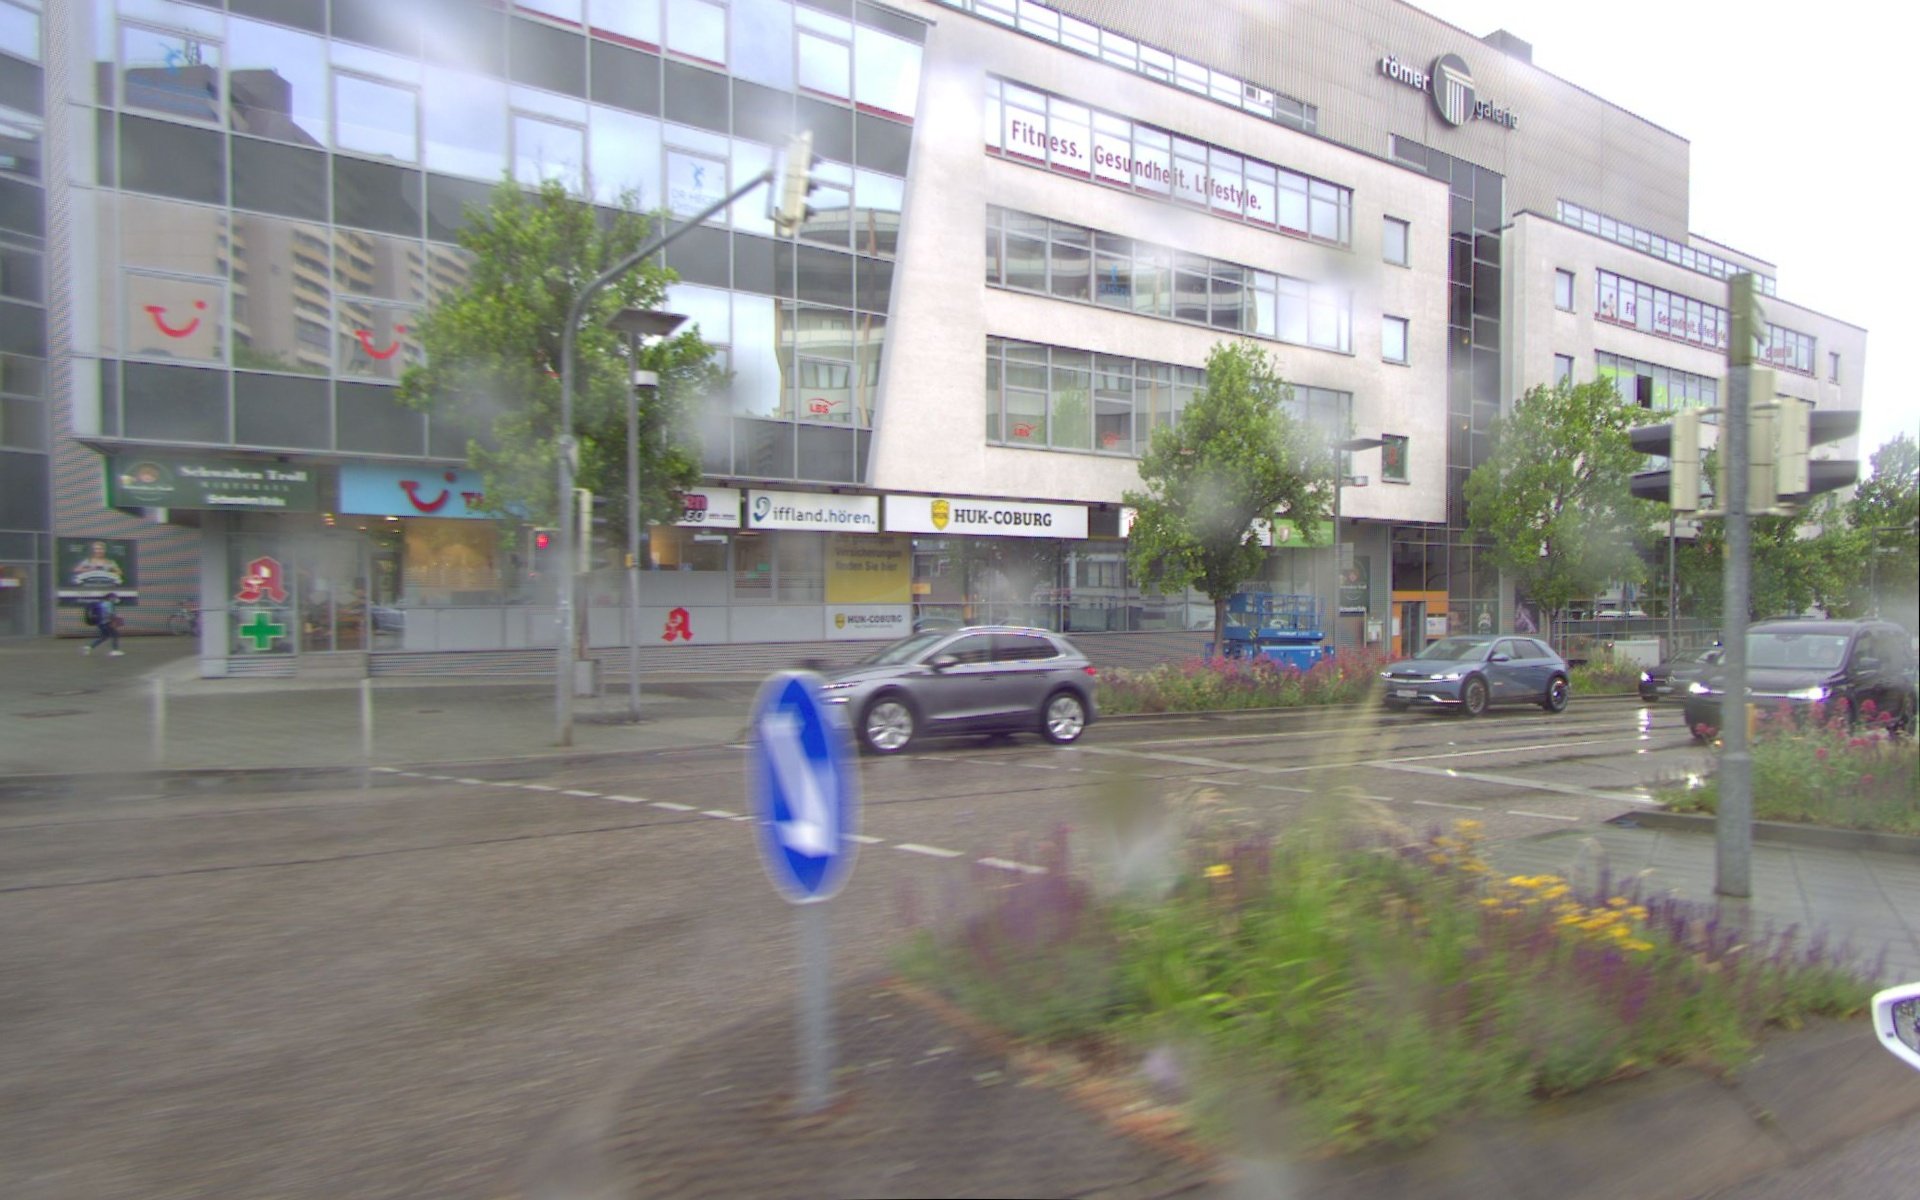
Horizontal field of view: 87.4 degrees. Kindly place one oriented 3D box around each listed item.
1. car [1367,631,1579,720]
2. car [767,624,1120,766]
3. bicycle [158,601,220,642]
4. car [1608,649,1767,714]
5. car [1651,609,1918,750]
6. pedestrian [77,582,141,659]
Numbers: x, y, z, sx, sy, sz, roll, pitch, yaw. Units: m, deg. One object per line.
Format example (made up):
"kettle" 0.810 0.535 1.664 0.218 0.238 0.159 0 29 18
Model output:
"car" 10.781 1.532 21.025 4.535 1.614 1.766 0 -4 -31
"car" -0.175 1.204 13.699 4.471 1.614 1.867 0 -4 -31
"bicycle" -24.625 0.672 32.072 2.239 1.263 0.675 0 0 28
"car" 18.504 2.013 25.494 4.550 1.406 1.716 1 -1 -33
"car" 12.531 1.135 15.212 4.254 1.847 1.982 2 -3 -34
"pedestrian" -20.783 0.486 24.551 1.012 1.843 0.841 -1 0 -30
